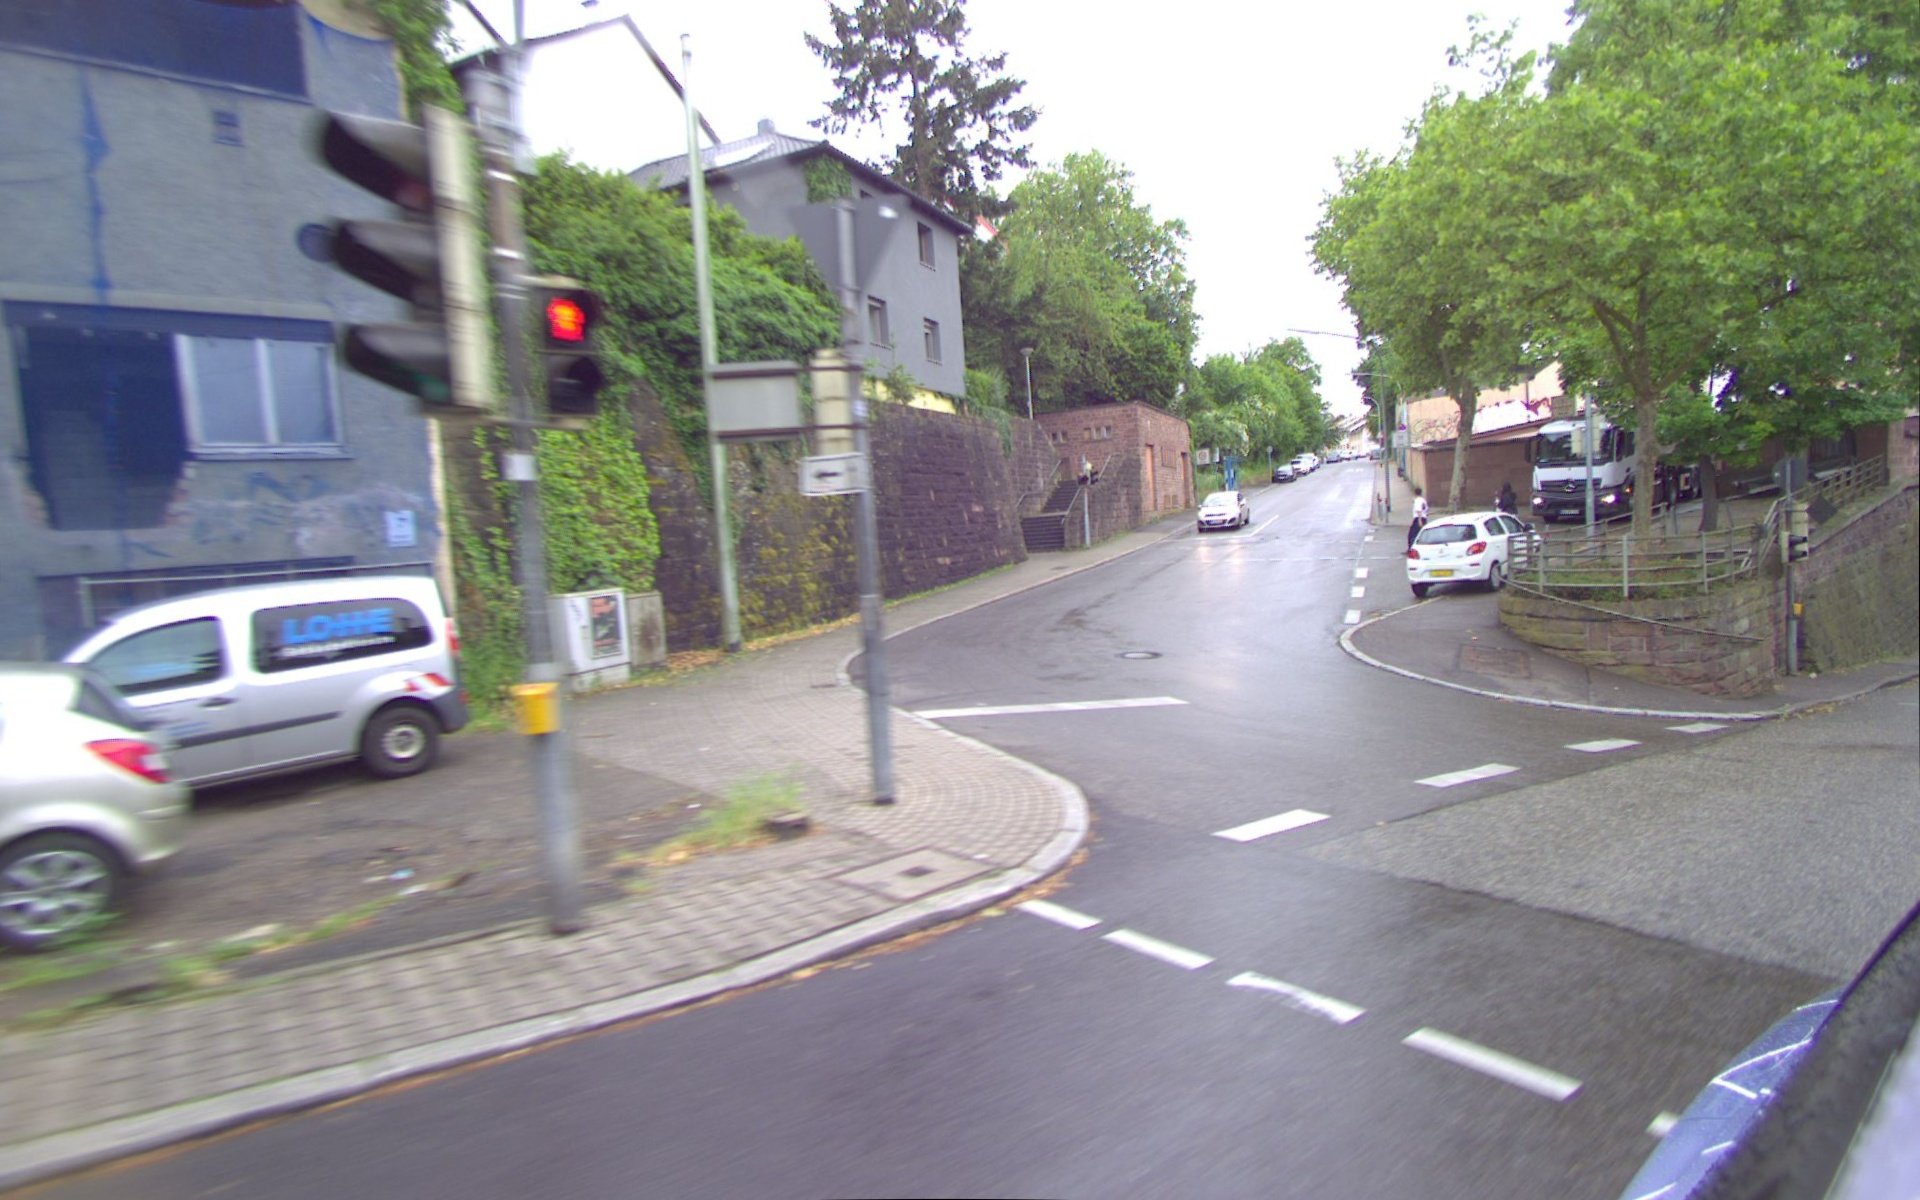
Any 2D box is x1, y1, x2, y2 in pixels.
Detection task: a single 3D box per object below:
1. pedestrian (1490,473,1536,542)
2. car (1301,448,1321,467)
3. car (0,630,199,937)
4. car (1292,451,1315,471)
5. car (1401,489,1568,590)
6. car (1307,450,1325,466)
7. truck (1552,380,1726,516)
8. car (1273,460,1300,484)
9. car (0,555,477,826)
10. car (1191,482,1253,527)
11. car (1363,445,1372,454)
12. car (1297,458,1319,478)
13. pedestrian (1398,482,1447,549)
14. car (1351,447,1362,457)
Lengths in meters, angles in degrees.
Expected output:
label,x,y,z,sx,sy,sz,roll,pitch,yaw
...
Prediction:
label,x,y,z,sx,sy,sz,roll,pitch,yaw
pedestrian,14.043,-2.340,25.717,0.767,1.697,0.872,0,3,11
car,38.220,-15.506,110.160,1.715,1.656,3.977,-3,9,24
car,-6.186,0.929,4.912,3.928,1.503,1.565,1,-1,-39
car,33.870,-13.733,99.833,1.715,1.656,3.977,-3,9,24
car,10.960,-1.294,21.006,4.282,1.509,1.632,-12,7,-42
car,43.724,-17.424,124.194,1.715,1.656,3.977,-3,9,24
truck,22.231,-5.103,32.770,2.748,3.342,11.077,3,12,44
car,28.013,-11.015,86.855,1.715,1.656,3.977,-3,9,24
car,-6.692,0.642,8.793,4.167,1.936,1.731,-3,1,-40
car,10.810,-3.963,41.594,1.805,1.535,3.975,-2,7,24
car,91.646,-33.926,227.740,1.715,1.656,3.977,-3,9,24
car,35.944,-13.617,104.532,1.715,1.656,3.977,-3,9,24
pedestrian,11.947,-2.166,26.134,0.765,1.697,0.874,-2,3,-36
car,79.585,-29.809,203.187,1.715,1.656,3.977,-3,9,24
